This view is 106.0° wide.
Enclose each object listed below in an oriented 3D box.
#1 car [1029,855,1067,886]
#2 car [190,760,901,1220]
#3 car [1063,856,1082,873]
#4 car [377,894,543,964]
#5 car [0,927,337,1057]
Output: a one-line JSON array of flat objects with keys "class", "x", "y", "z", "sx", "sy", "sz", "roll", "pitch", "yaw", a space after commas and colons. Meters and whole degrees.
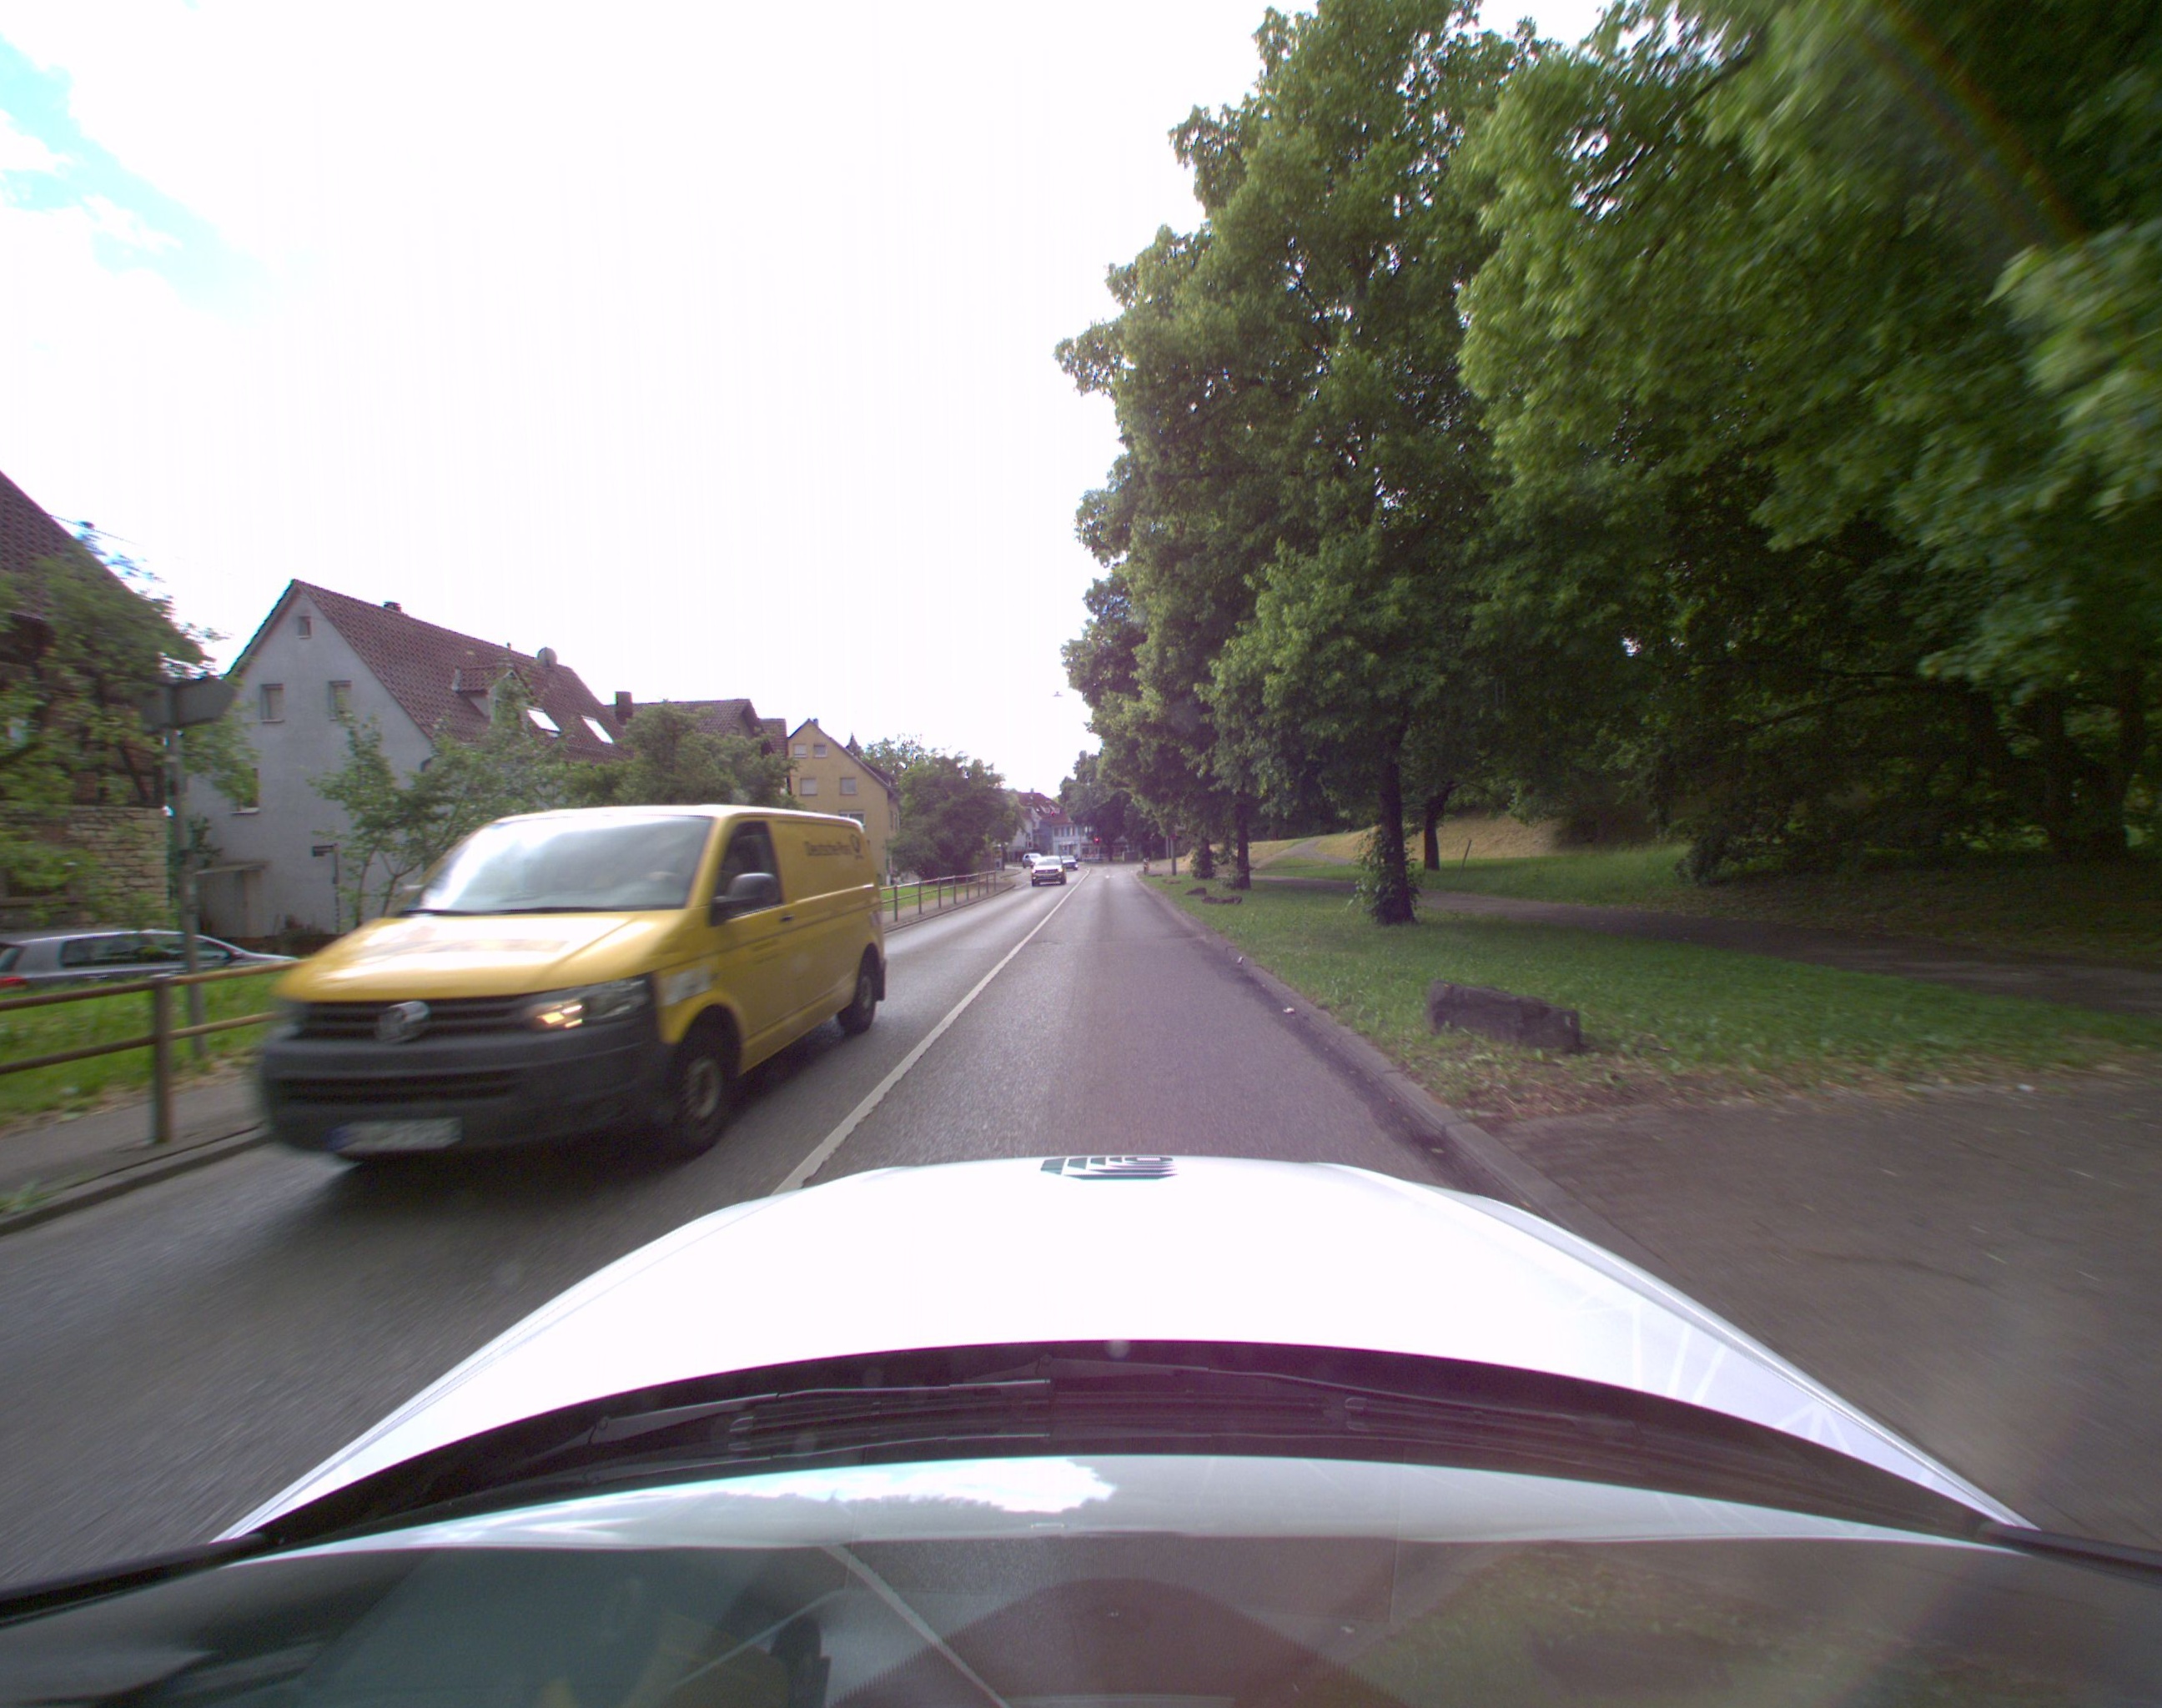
[{"class": "car", "x": -1.765, "y": 0.860, "z": 44.569, "sx": 1.698, "sy": 1.511, "sz": 4.002, "roll": -4, "pitch": 0, "yaw": 2}, {"class": "car", "x": -2.846, "y": 0.598, "z": 5.895, "sx": 1.839, "sy": 1.931, "sz": 4.771, "roll": -2, "pitch": 0, "yaw": 2}, {"class": "car", "x": -0.796, "y": 0.969, "z": 79.121, "sx": 1.710, "sy": 1.468, "sz": 4.099, "roll": -3, "pitch": 0, "yaw": 1}, {"class": "car", "x": -13.915, "y": 1.641, "z": 18.402, "sx": 1.544, "sy": 1.278, "sz": 2.559, "roll": -3, "pitch": 0, "yaw": 7}, {"class": "car", "x": -14.315, "y": 1.980, "z": 12.397, "sx": 1.983, "sy": 1.277, "sz": 4.009, "roll": -3, "pitch": 0, "yaw": 7}]
